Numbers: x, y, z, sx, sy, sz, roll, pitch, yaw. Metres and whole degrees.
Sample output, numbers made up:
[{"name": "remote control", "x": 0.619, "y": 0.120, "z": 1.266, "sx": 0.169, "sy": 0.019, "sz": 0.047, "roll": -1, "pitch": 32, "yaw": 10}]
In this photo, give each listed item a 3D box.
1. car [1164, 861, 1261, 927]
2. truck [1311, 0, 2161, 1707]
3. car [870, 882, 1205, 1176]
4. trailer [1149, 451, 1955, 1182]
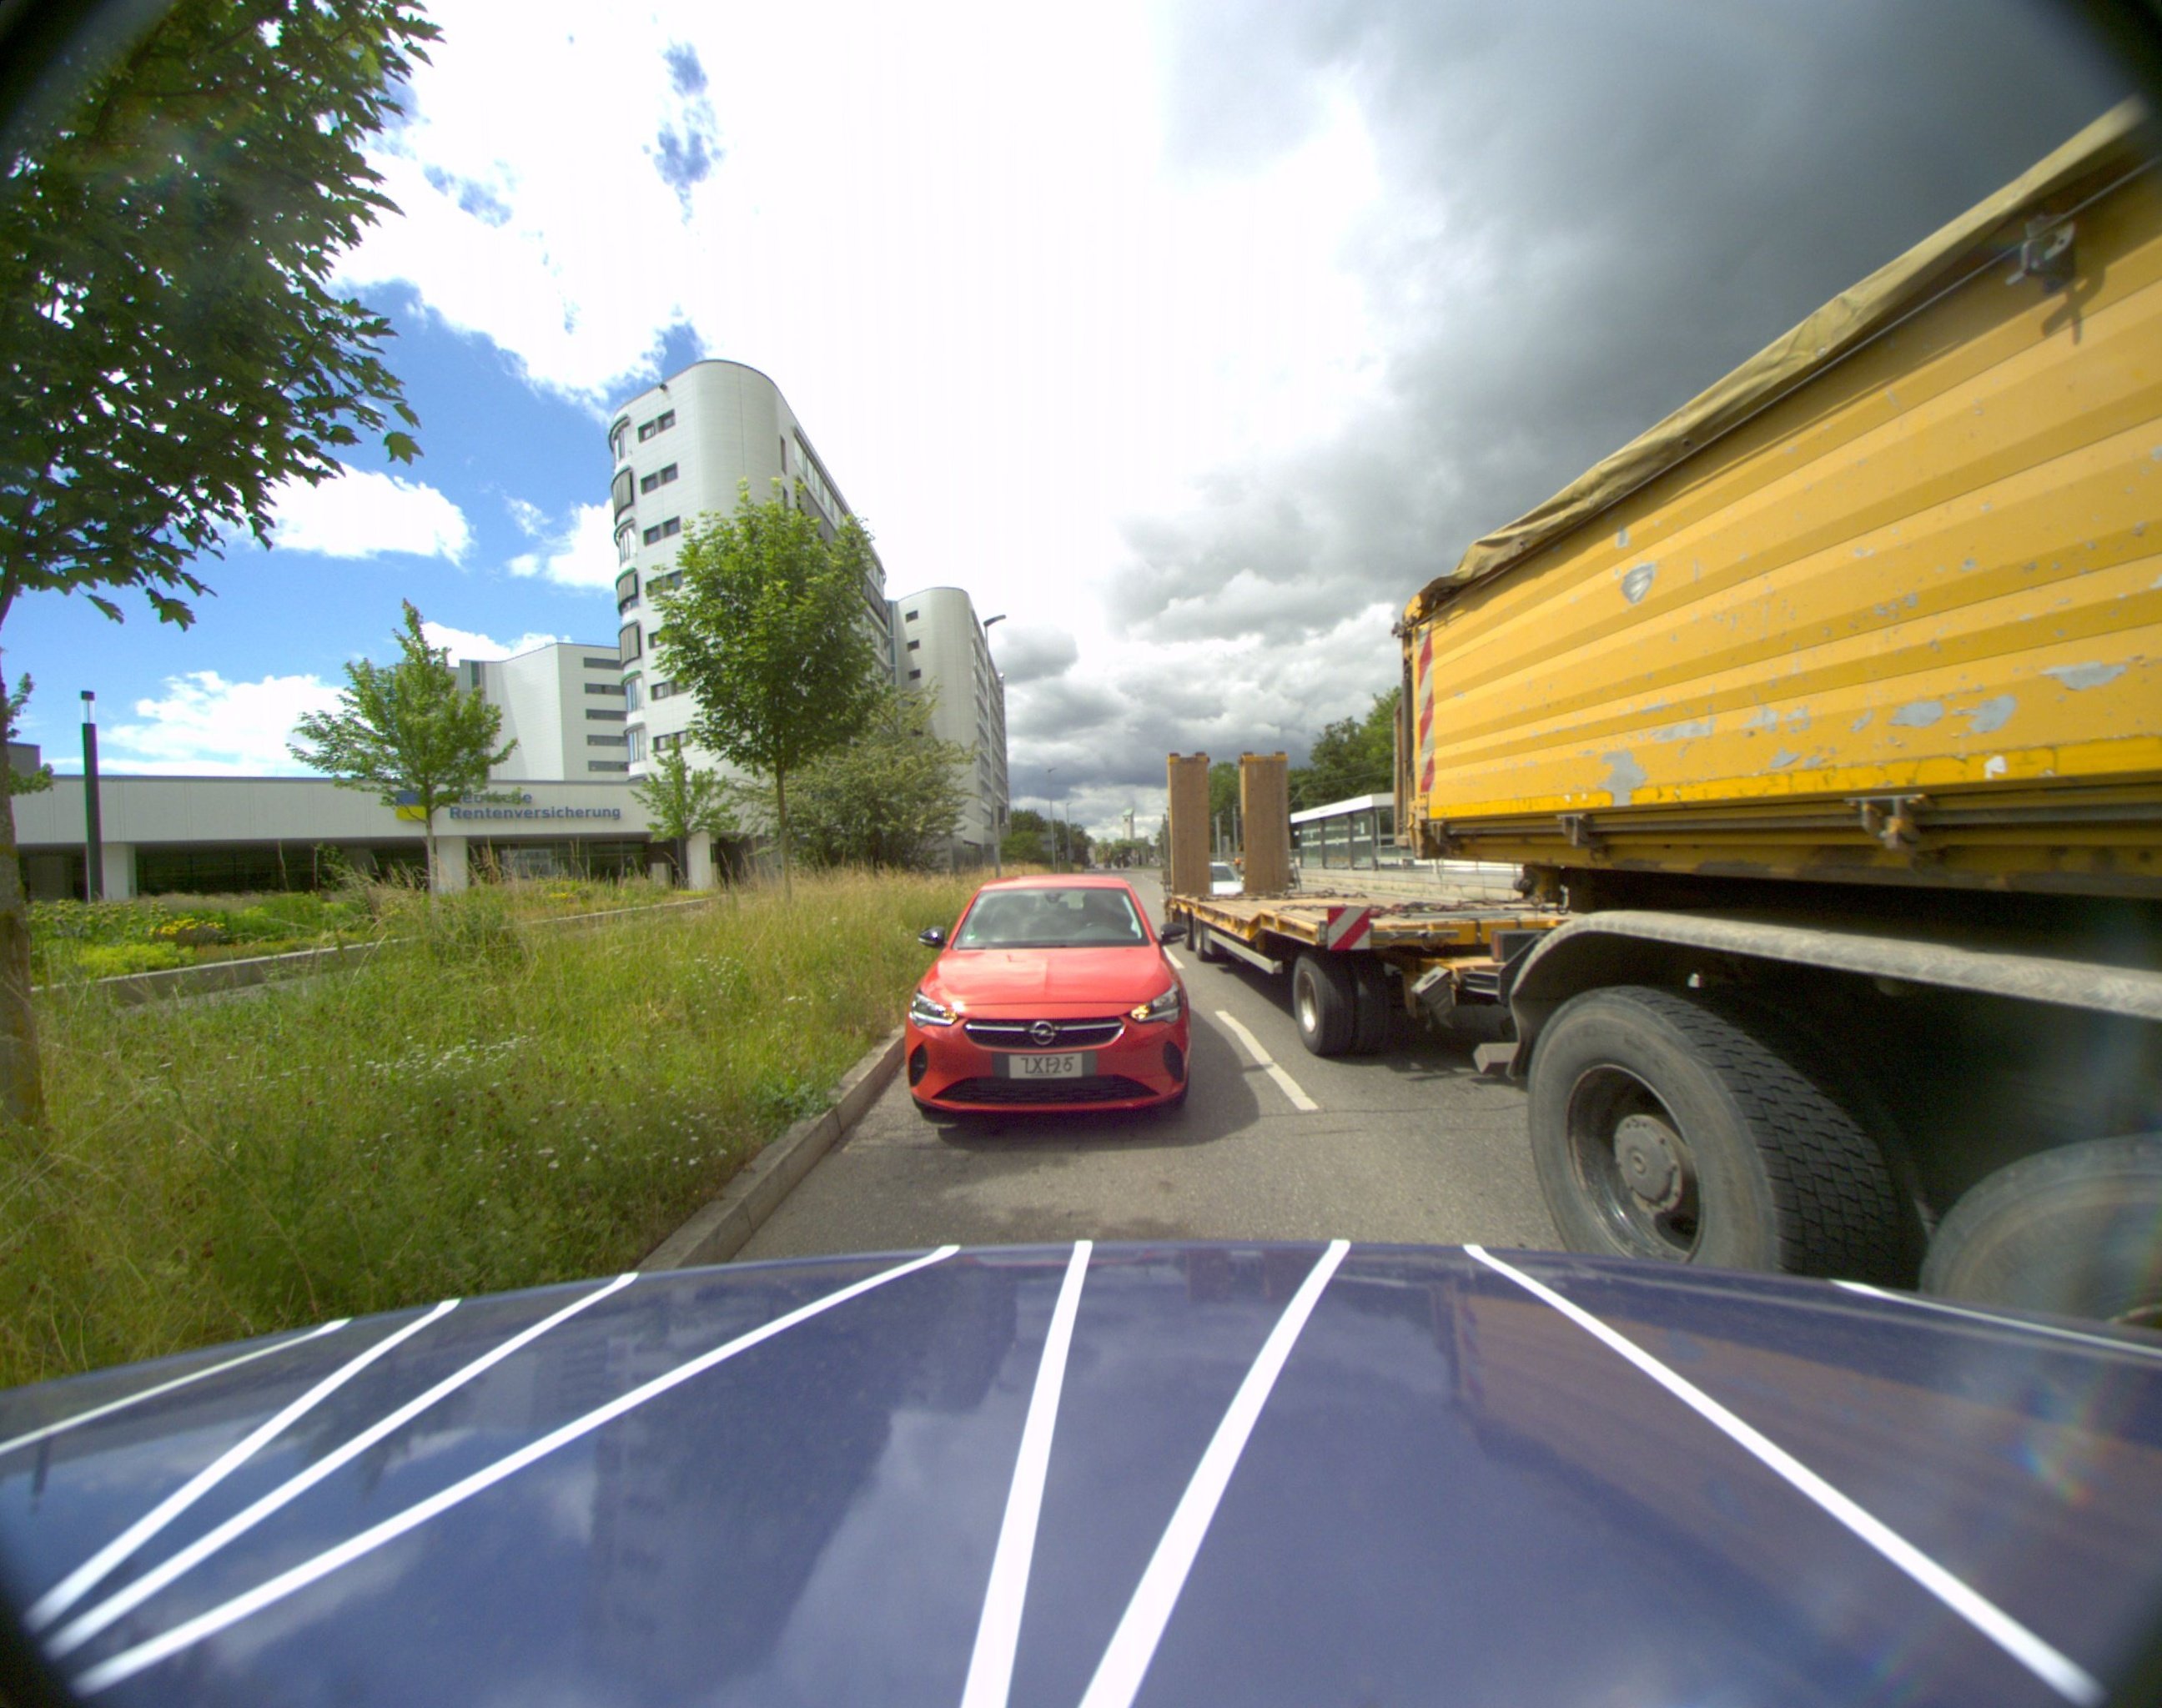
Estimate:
[{"name": "car", "x": 3.179, "y": 0.918, "z": 19.014, "sx": 1.784, "sy": 1.408, "sz": 3.785, "roll": -2, "pitch": 0, "yaw": 1}, {"name": "truck", "x": 2.852, "y": -0.056, "z": 0.116, "sx": 3.057, "sy": 3.374, "sz": 8.006, "roll": -2, "pitch": 0, "yaw": 0}, {"name": "car", "x": -0.198, "y": 0.992, "z": 5.847, "sx": 1.749, "sy": 1.408, "sz": 3.676, "roll": -1, "pitch": 0, "yaw": 1}, {"name": "trailer", "x": 2.942, "y": -0.170, "z": 9.417, "sx": 3.057, "sy": 3.676, "sz": 10.965, "roll": -2, "pitch": 0, "yaw": 0}]
